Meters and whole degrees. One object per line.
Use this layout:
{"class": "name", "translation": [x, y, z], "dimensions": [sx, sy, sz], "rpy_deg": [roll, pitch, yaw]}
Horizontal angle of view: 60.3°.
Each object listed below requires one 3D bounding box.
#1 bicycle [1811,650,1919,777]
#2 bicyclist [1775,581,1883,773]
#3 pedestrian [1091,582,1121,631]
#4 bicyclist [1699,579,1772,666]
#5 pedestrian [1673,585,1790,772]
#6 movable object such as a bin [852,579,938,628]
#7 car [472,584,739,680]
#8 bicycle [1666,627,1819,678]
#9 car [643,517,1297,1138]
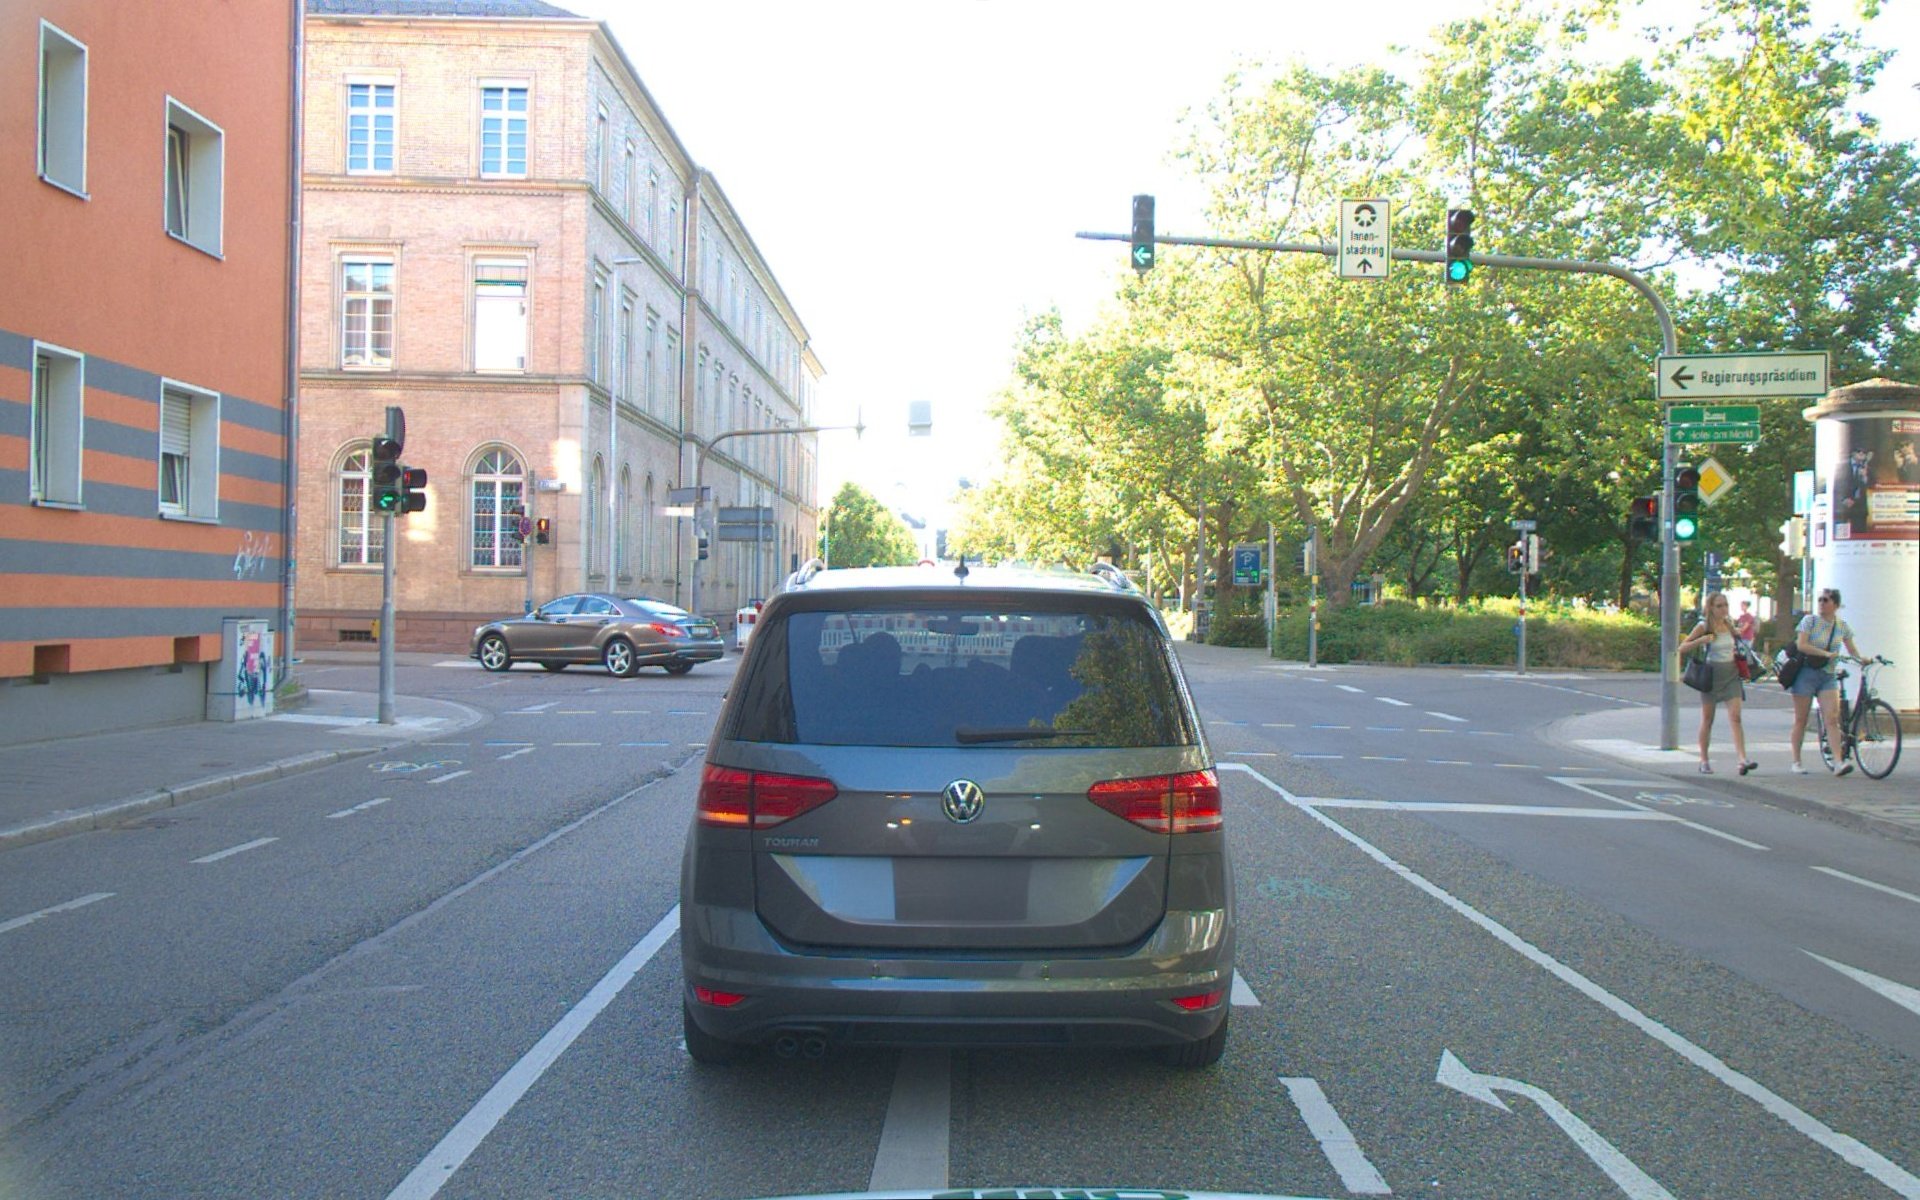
{"class": "bicycle", "translation": [8.481, 1.010, 15.140], "dimensions": [0.510, 1.053, 1.647], "rpy_deg": [1, 0, -1]}
{"class": "bicyclist", "translation": [8.155, 0.709, 15.541], "dimensions": [0.620, 1.743, 0.654], "rpy_deg": [-1, -1, -1]}
{"class": "pedestrian", "translation": [8.227, 0.376, 93.200], "dimensions": [1.393, 2.714, 1.146], "rpy_deg": [1, -1, -9]}
{"class": "bicyclist", "translation": [16.932, 0.489, 36.114], "dimensions": [1.105, 1.839, 0.977], "rpy_deg": [1, -1, -2]}
{"class": "pedestrian", "translation": [7.424, 0.749, 15.948], "dimensions": [0.758, 1.749, 0.692], "rpy_deg": [-1, -2, -1]}
{"class": "movable object such as a bin", "translation": [-3.843, 0.198, 97.340], "dimensions": [4.757, 2.825, 2.458], "rpy_deg": [1, -1, 43]}
{"class": "car", "translation": [-6.300, 0.523, 29.357], "dimensions": [4.406, 1.556, 1.927], "rpy_deg": [1, 0, 27]}
{"class": "bicycle", "translation": [17.085, 1.137, 36.134], "dimensions": [2.936, 1.056, 0.942], "rpy_deg": [1, 0, -4]}
{"class": "car", "translation": [0.033, 0.599, 6.419], "dimensions": [1.726, 1.635, 4.000], "rpy_deg": [1, 0, 0]}
